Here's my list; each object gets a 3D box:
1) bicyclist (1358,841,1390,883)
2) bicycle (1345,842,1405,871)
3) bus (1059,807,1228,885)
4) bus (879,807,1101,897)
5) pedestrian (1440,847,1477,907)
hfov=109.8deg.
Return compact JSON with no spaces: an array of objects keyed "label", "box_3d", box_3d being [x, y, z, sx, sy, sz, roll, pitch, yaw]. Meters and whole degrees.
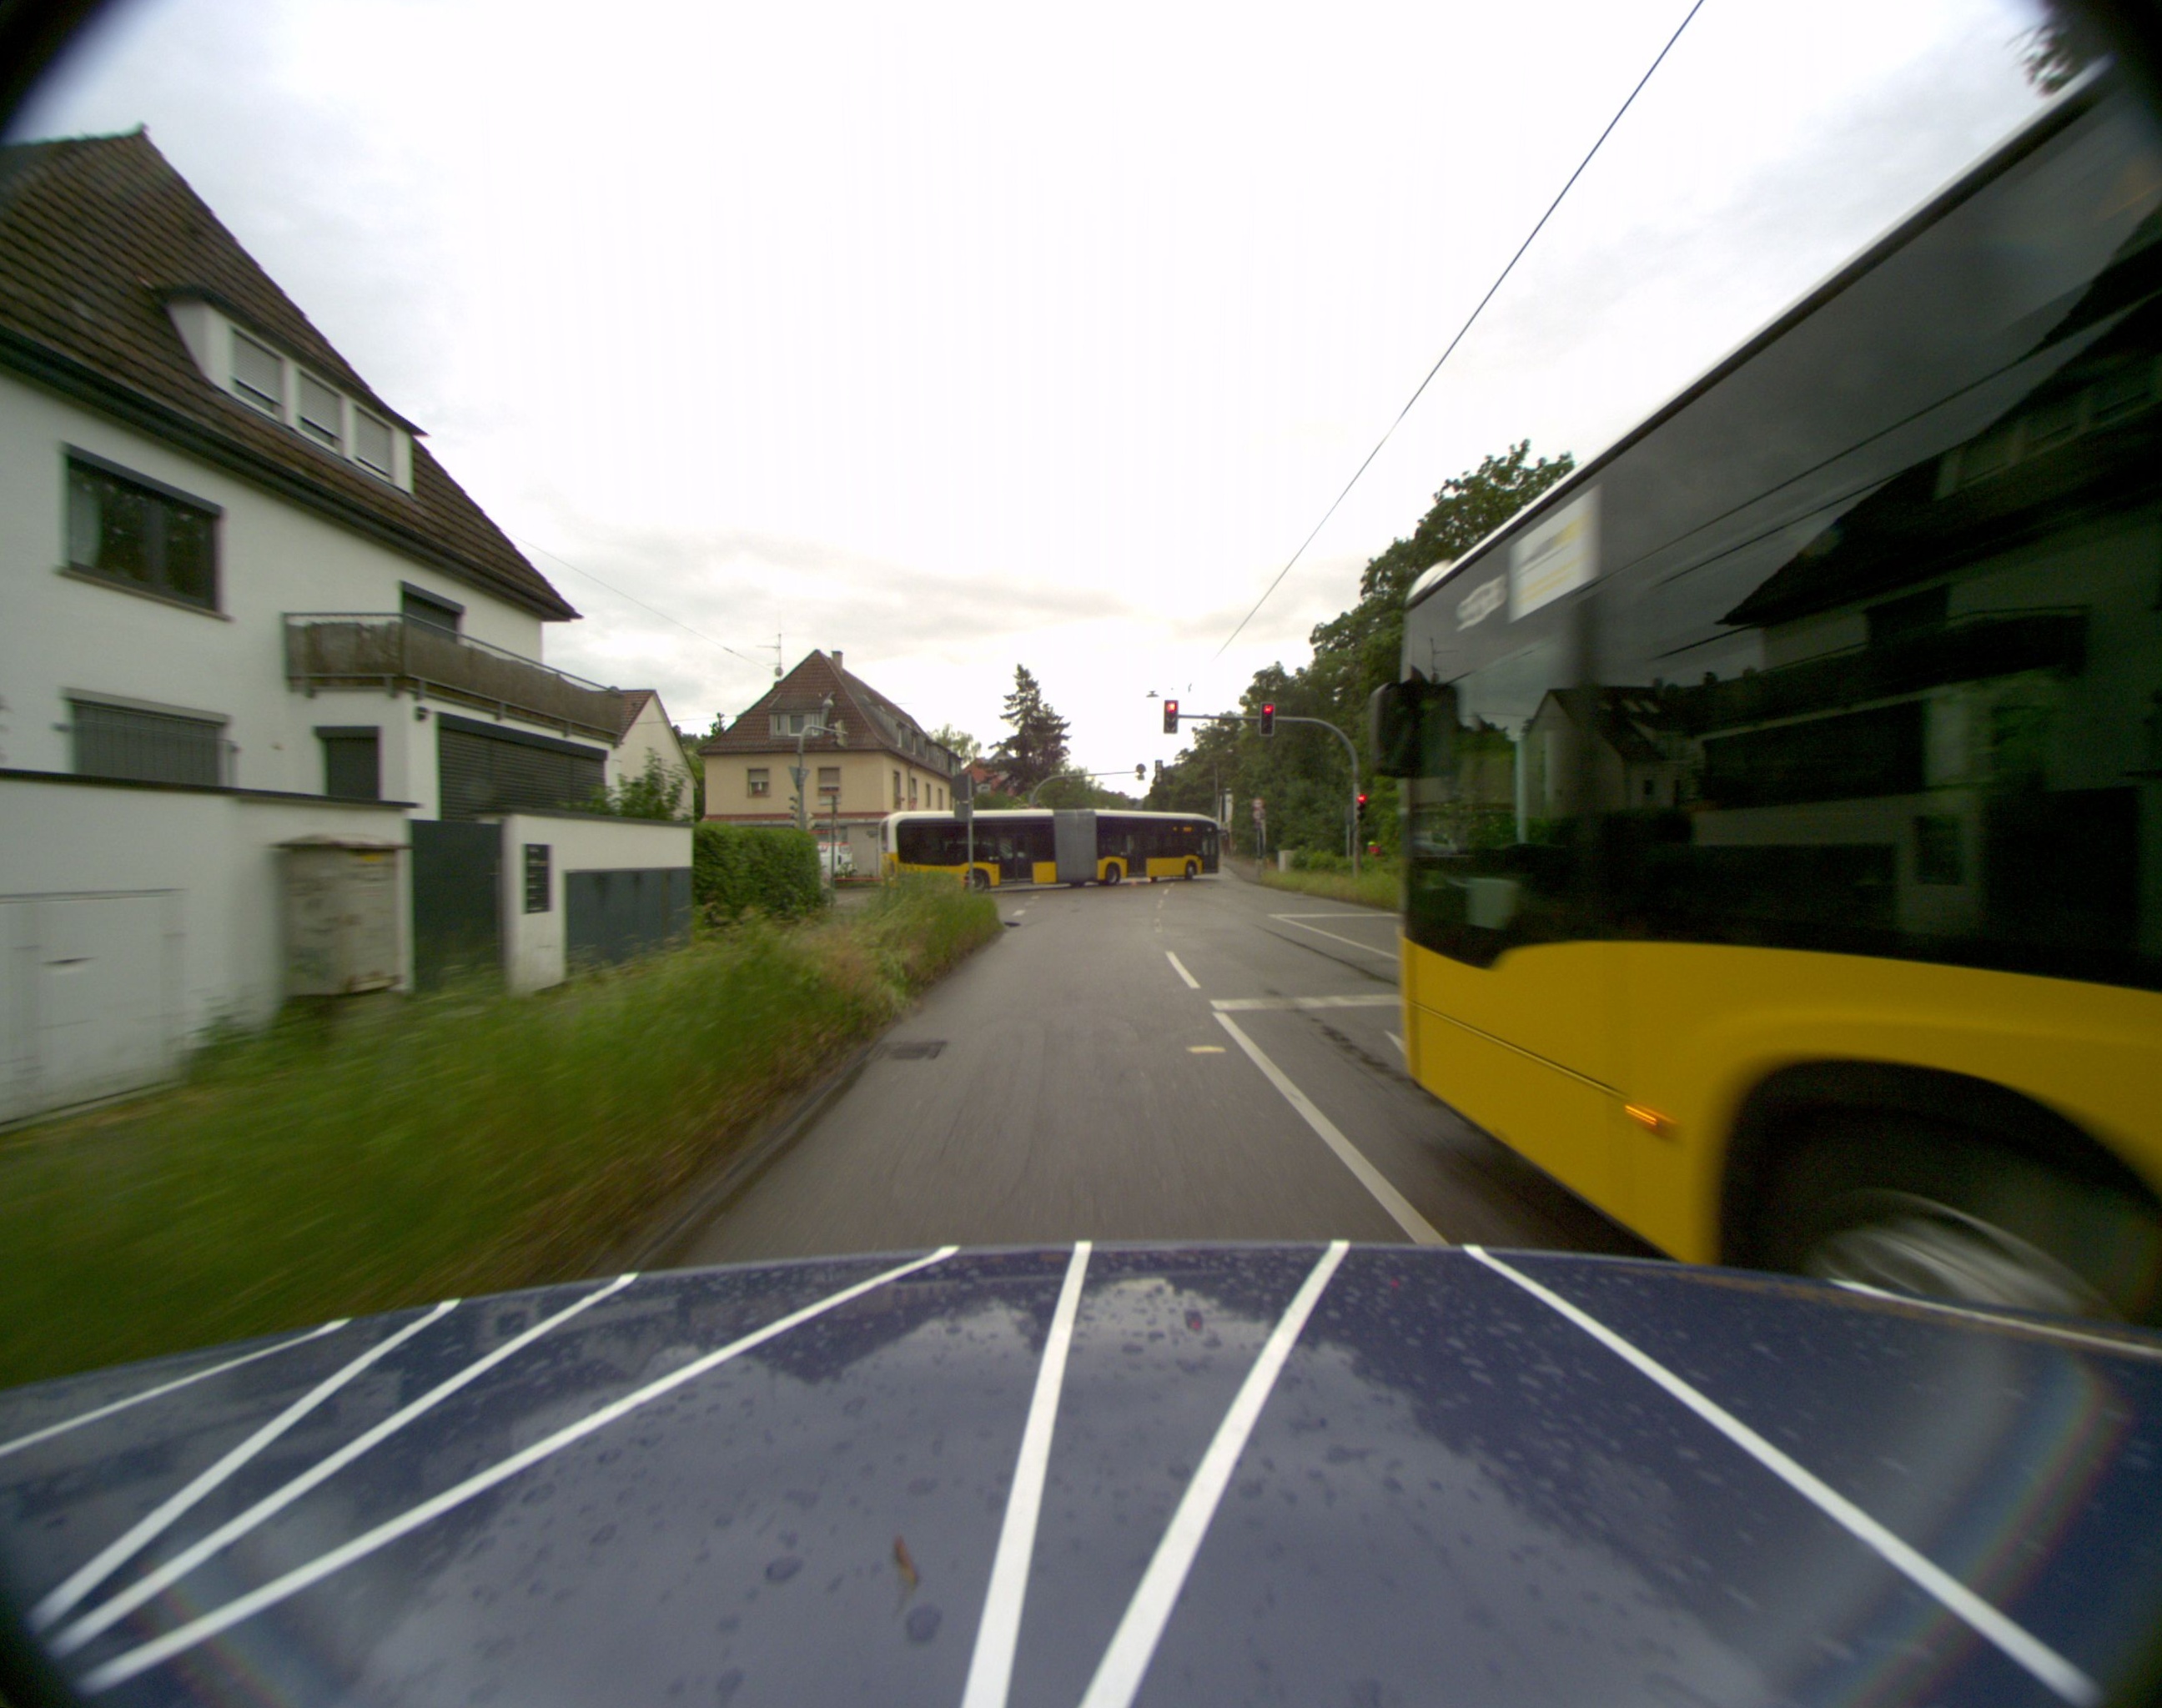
[{"label":"bicyclist","box_3d":[11.795,0.300,30.594,1.047,1.643,0.580,-1,2,7]},{"label":"bicycle","box_3d":[11.823,0.097,30.585,2.151,1.090,0.580,-1,2,7]},{"label":"bus","box_3d":[3.287,-0.412,37.226,9.058,3.378,2.901,-2,0,-44]},{"label":"bus","box_3d":[-3.738,-0.177,31.630,8.689,3.378,2.680,-2,0,-22]},{"label":"pedestrian","box_3d":[11.540,0.698,23.239,0.778,1.789,0.763,-1,2,3]}]
